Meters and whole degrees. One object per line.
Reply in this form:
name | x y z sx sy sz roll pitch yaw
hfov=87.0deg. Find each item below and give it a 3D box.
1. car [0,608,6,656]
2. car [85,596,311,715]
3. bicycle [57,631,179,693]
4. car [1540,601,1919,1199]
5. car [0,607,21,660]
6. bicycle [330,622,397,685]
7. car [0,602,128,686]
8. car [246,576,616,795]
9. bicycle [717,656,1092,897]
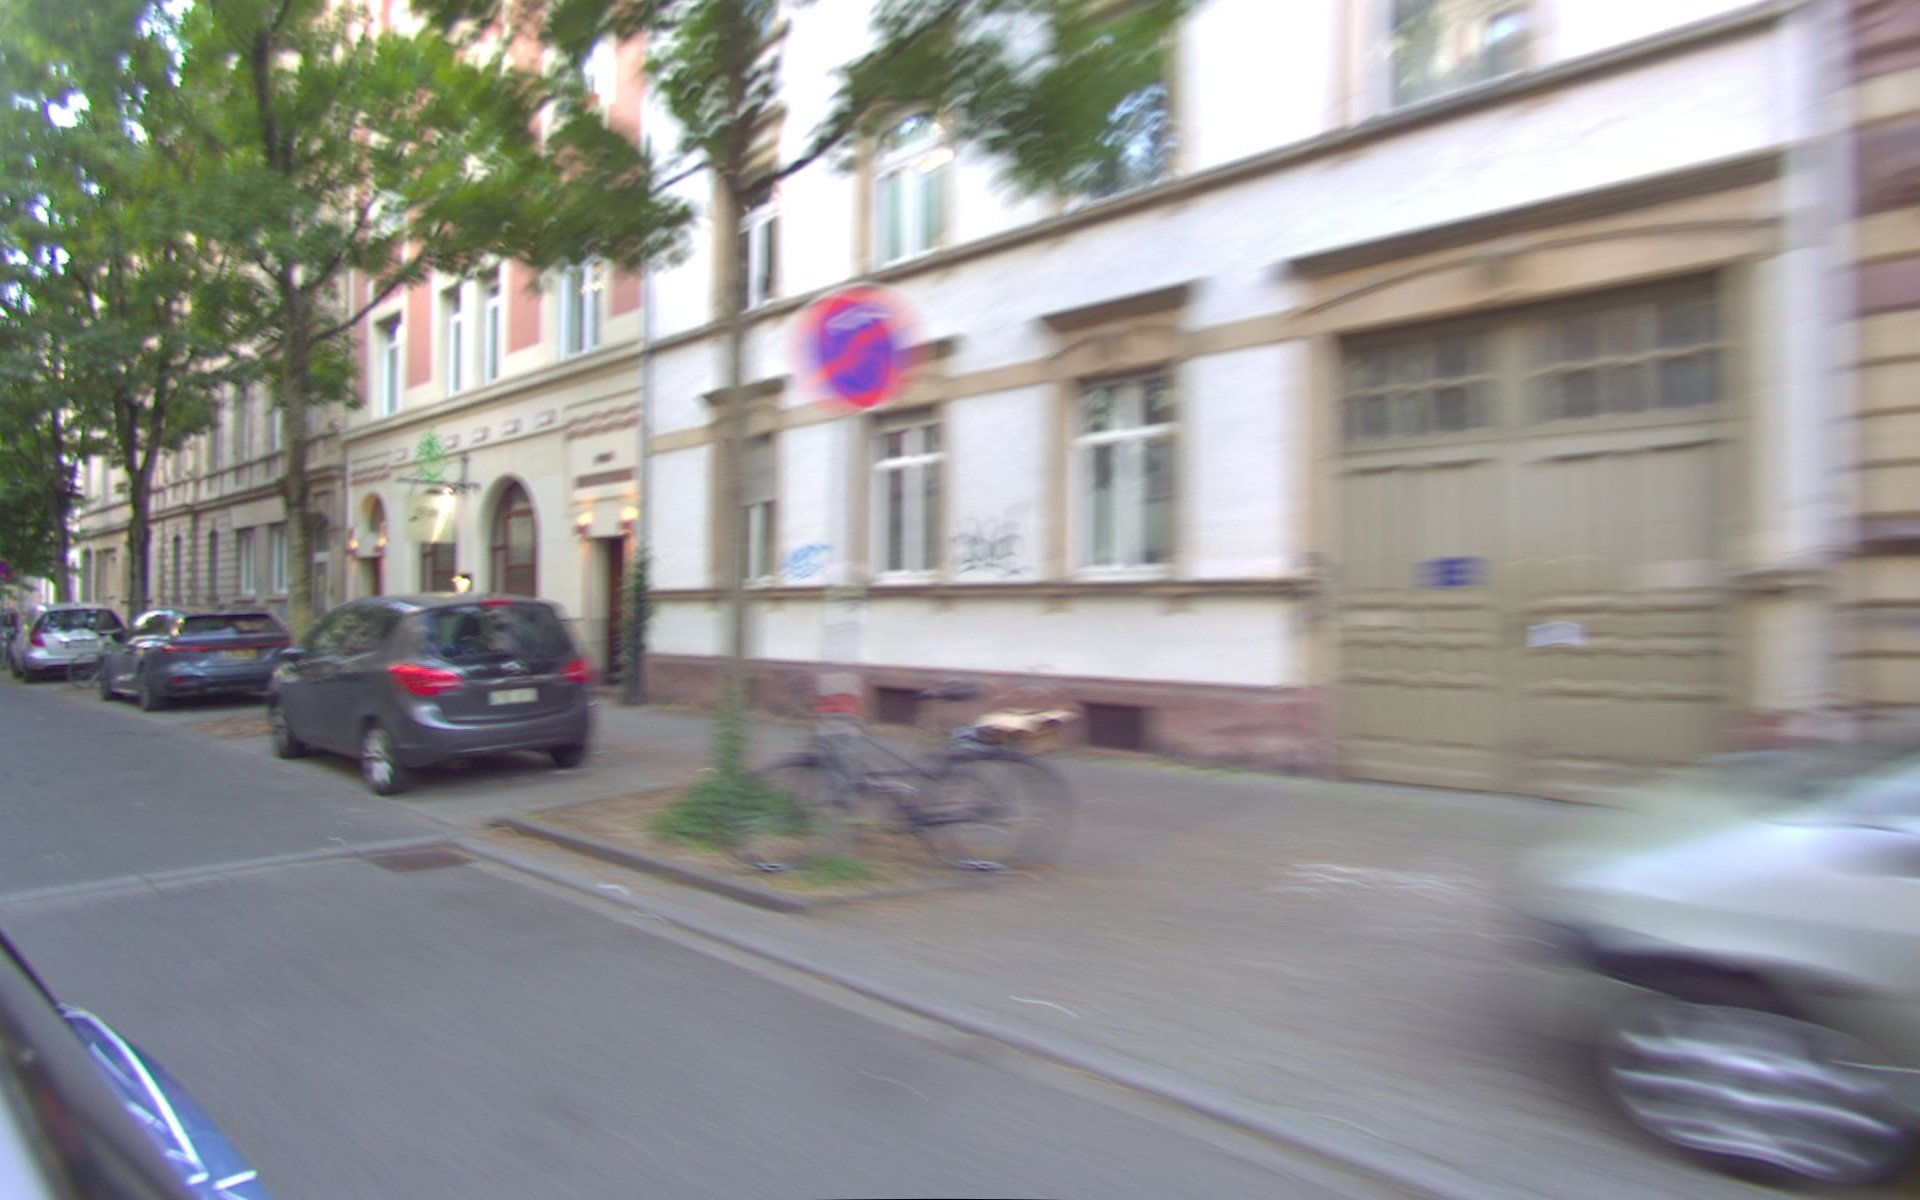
car | -31.893 1.022 32.299 3.708 1.513 1.674 0 0 40
car | -11.653 0.733 15.354 4.682 1.529 1.787 -1 0 41
bicycle | -15.523 1.118 18.694 0.430 1.011 1.666 -1 1 42
car | 3.477 0.725 2.263 3.563 1.448 1.571 -1 0 40
car | -28.930 0.977 29.791 3.559 1.513 1.503 0 0 40
bicycle | -11.153 0.971 18.897 1.794 1.106 0.520 -1 -2 41
car | -19.170 0.874 21.595 3.861 1.619 1.658 -1 -1 42
car | -5.022 0.645 9.358 4.076 1.593 1.688 -1 0 41
bicycle | -0.289 0.860 5.210 1.799 1.093 0.669 0 0 -6
